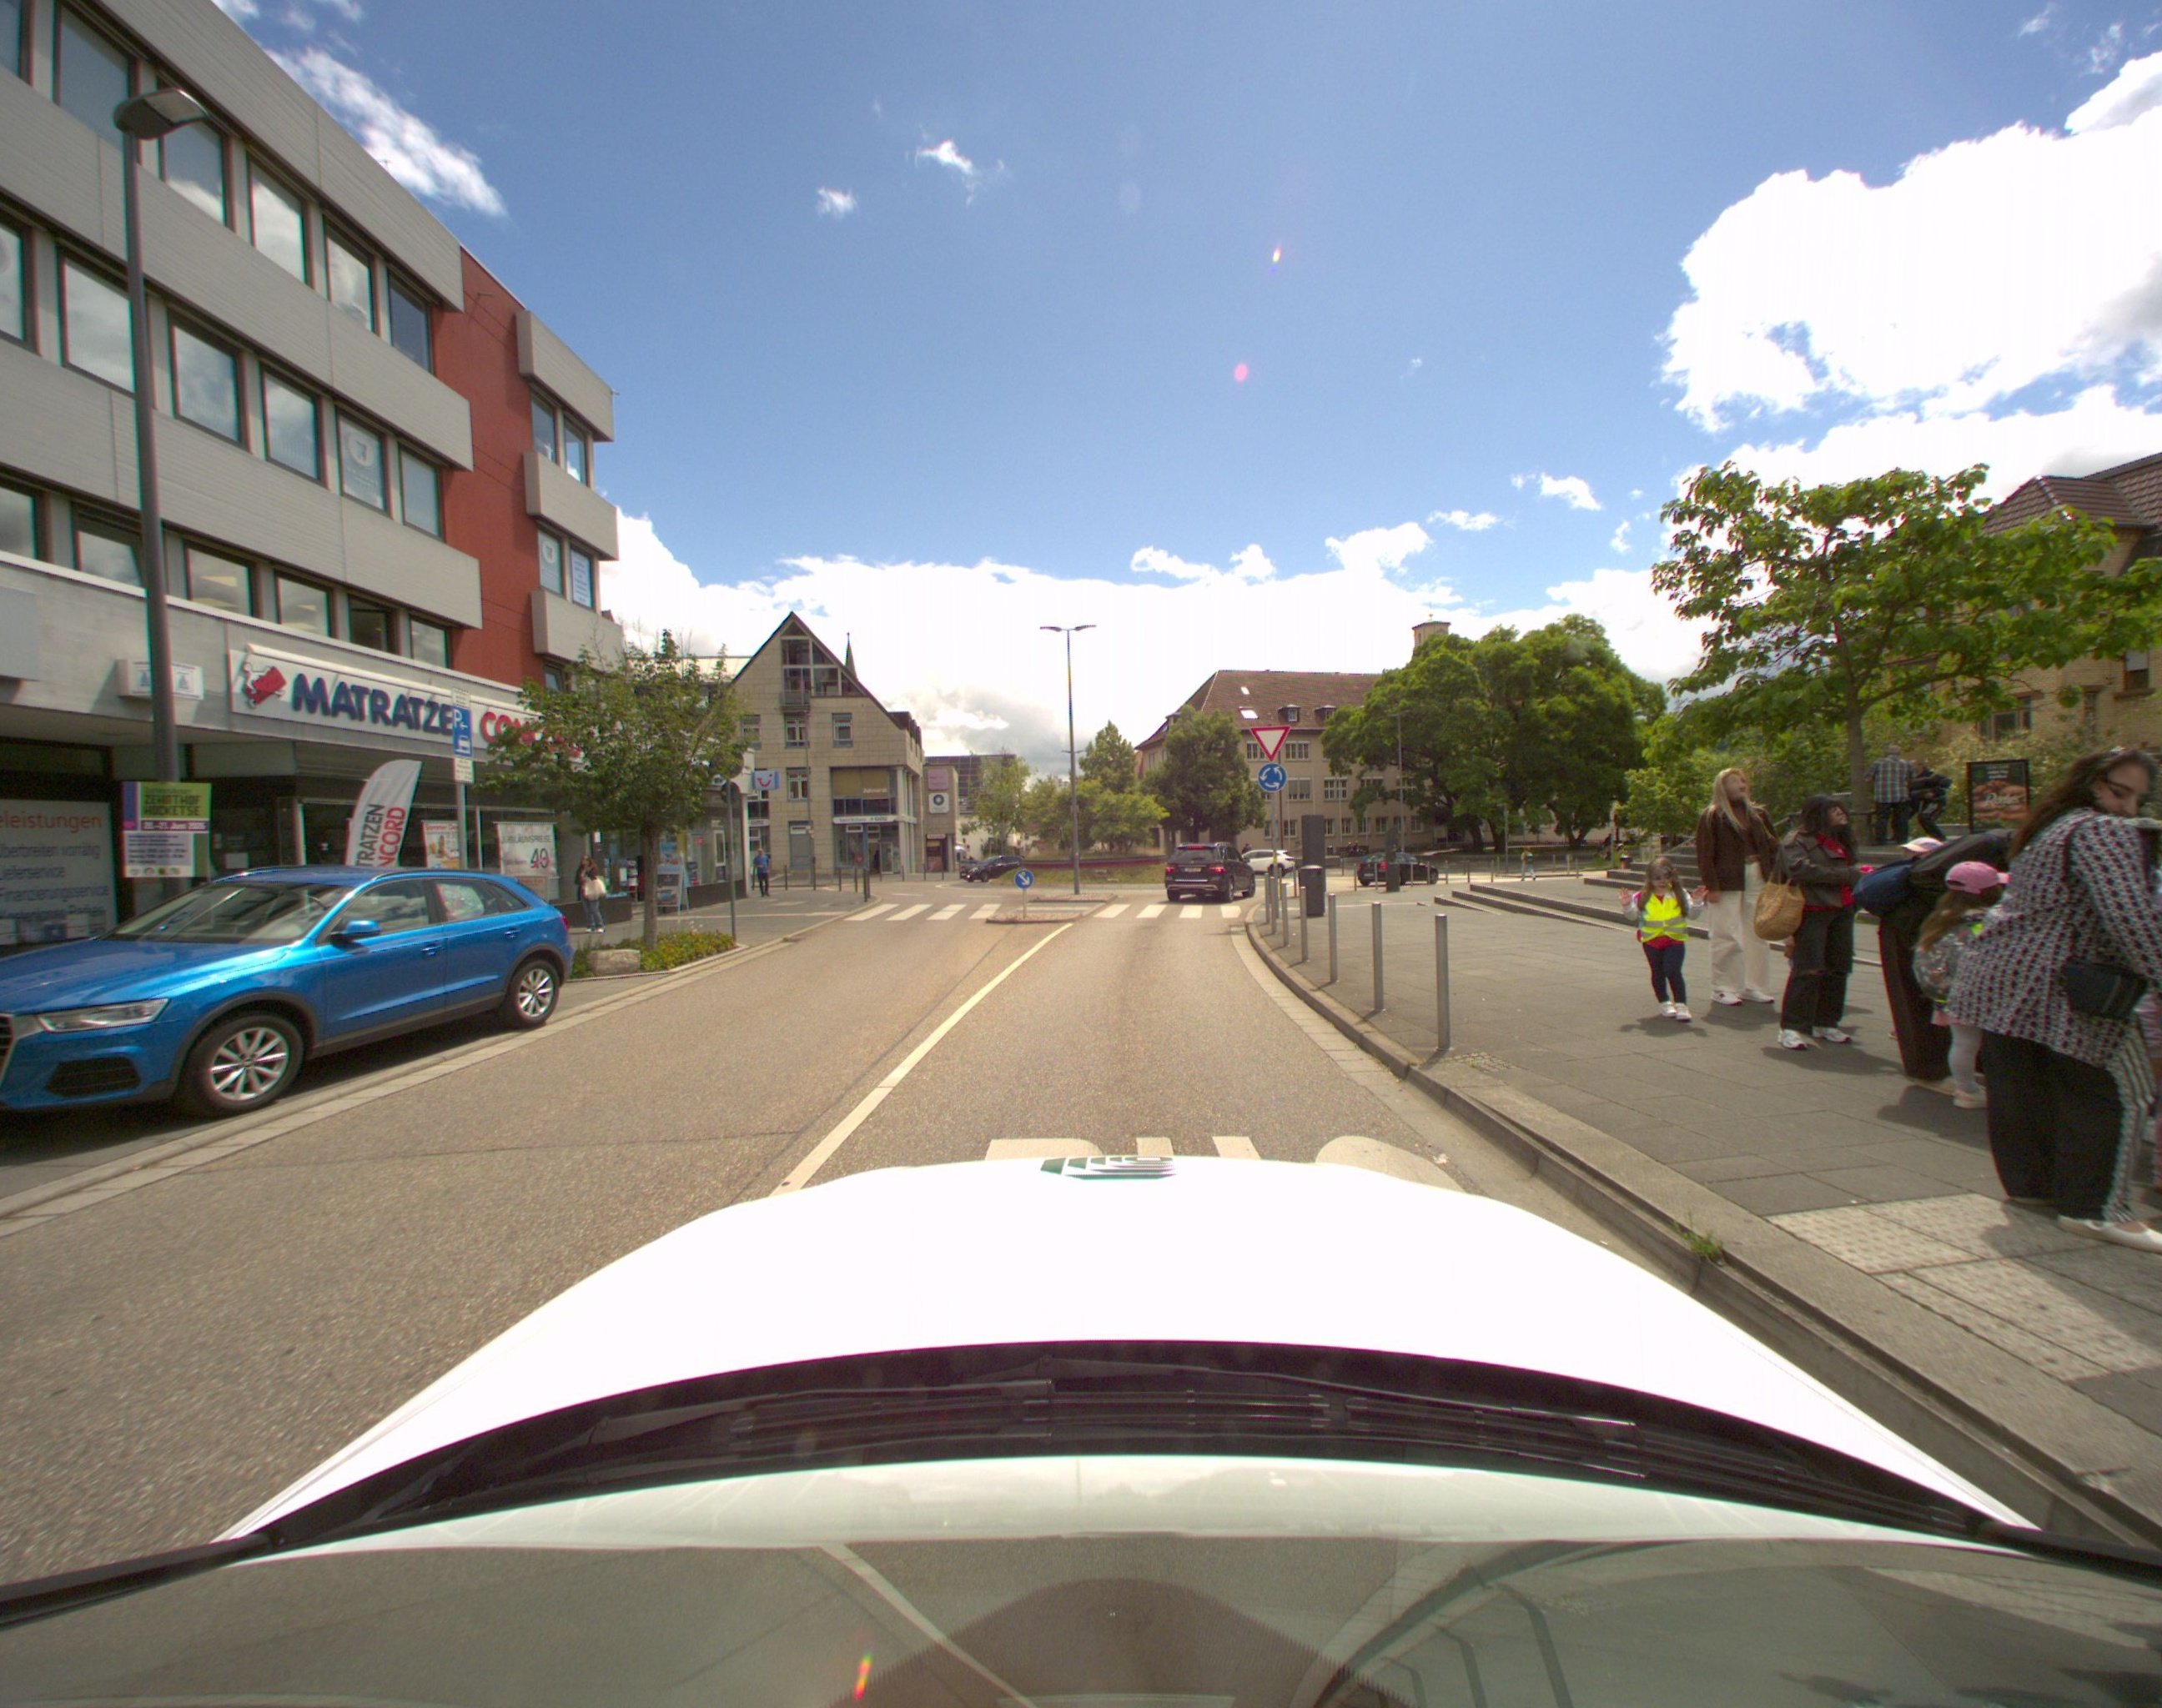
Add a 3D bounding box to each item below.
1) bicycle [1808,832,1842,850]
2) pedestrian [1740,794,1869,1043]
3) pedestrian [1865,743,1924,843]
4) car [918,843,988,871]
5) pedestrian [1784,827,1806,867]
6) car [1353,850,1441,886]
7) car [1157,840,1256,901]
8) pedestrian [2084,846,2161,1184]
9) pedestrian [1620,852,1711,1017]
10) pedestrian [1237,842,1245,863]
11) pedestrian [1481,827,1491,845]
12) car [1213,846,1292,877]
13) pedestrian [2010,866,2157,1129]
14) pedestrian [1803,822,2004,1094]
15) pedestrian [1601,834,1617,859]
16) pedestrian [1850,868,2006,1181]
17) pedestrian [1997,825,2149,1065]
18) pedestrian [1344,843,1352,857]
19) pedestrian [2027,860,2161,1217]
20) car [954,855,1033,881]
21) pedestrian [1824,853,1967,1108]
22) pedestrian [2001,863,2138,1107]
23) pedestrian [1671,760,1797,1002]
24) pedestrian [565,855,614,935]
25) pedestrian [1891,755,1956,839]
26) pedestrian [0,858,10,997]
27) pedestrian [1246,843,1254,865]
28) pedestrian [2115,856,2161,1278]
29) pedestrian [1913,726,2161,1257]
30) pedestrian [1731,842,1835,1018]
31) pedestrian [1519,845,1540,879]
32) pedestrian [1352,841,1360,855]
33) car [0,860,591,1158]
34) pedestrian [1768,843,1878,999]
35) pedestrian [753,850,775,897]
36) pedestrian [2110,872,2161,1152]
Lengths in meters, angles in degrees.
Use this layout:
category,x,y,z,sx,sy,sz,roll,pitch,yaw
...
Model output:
category,x,y,z,sx,sy,sz,roll,pitch,yaw
bicycle,47.787,-0.836,52.328,0.576,1.091,1.567,-1,1,-11
pedestrian,4.615,0.399,5.215,0.387,1.517,0.390,-4,0,6
pedestrian,12.755,-0.944,12.784,0.498,1.508,0.457,-2,0,25
car,-12.256,0.320,77.793,6.308,2.560,2.190,0,-3,-21
pedestrian,29.312,-0.290,33.435,0.547,1.629,0.682,-1,-1,33
car,13.582,0.583,34.990,3.852,1.383,1.597,-2,0,-34
car,4.025,0.449,25.434,2.009,1.727,4.458,-1,1,23
pedestrian,3.881,0.565,2.899,0.251,1.174,0.250,-4,0,-10
pedestrian,4.412,0.594,6.144,0.470,1.172,0.393,-4,-1,38
pedestrian,11.919,-0.102,60.651,0.632,1.523,0.579,0,4,12
pedestrian,35.367,-1.555,71.124,0.692,1.492,0.819,0,0,19
car,9.887,0.429,46.856,4.223,1.576,1.857,-3,0,15
pedestrian,4.277,0.596,3.486,0.249,1.069,0.252,-4,0,16
pedestrian,4.334,0.511,4.308,0.435,1.304,0.593,-4,-1,-34
pedestrian,34.957,-0.498,53.906,0.616,1.577,0.578,-1,0,-22
pedestrian,3.276,0.641,3.165,0.273,1.152,0.249,-4,0,12
pedestrian,5.331,0.475,4.391,0.320,1.238,0.335,-5,-1,15
pedestrian,22.428,-0.349,68.357,0.482,1.182,0.584,0,0,36
pedestrian,3.610,0.609,2.825,0.263,1.160,0.271,-4,0,0
car,-4.928,0.801,46.197,4.129,1.419,1.688,0,-2,-28
pedestrian,4.026,0.599,4.030,0.337,1.167,0.348,-4,-2,-31
pedestrian,4.533,0.588,3.743,0.249,1.069,0.253,-4,0,10
pedestrian,5.147,0.214,6.450,0.536,1.823,0.437,-4,0,12
pedestrian,-9.991,0.824,16.585,0.585,1.588,0.639,-1,0,1
pedestrian,13.397,-0.896,12.956,0.361,1.285,0.642,-2,0,5
pedestrian,-12.395,0.838,8.908,0.508,1.566,0.586,-3,0,1
pedestrian,12.567,-0.001,60.377,0.568,1.608,0.439,0,4,13
pedestrian,3.266,0.618,2.202,0.399,1.226,0.390,-3,0,22
pedestrian,3.290,0.421,2.744,0.385,1.619,0.469,-4,0,2
pedestrian,5.057,0.529,5.891,0.386,1.198,0.514,-4,0,25
pedestrian,20.906,0.370,37.987,0.548,1.514,0.789,-3,2,4
pedestrian,23.172,-0.491,68.534,0.482,1.222,0.584,0,0,36
car,-6.267,0.874,6.693,1.687,1.599,4.334,1,0,2
pedestrian,5.699,0.505,6.274,0.436,1.148,0.384,-4,0,13
pedestrian,-10.926,0.668,28.039,0.567,1.603,0.604,-1,0,-11
pedestrian,4.264,0.610,3.123,0.250,1.069,0.252,-4,0,-4
